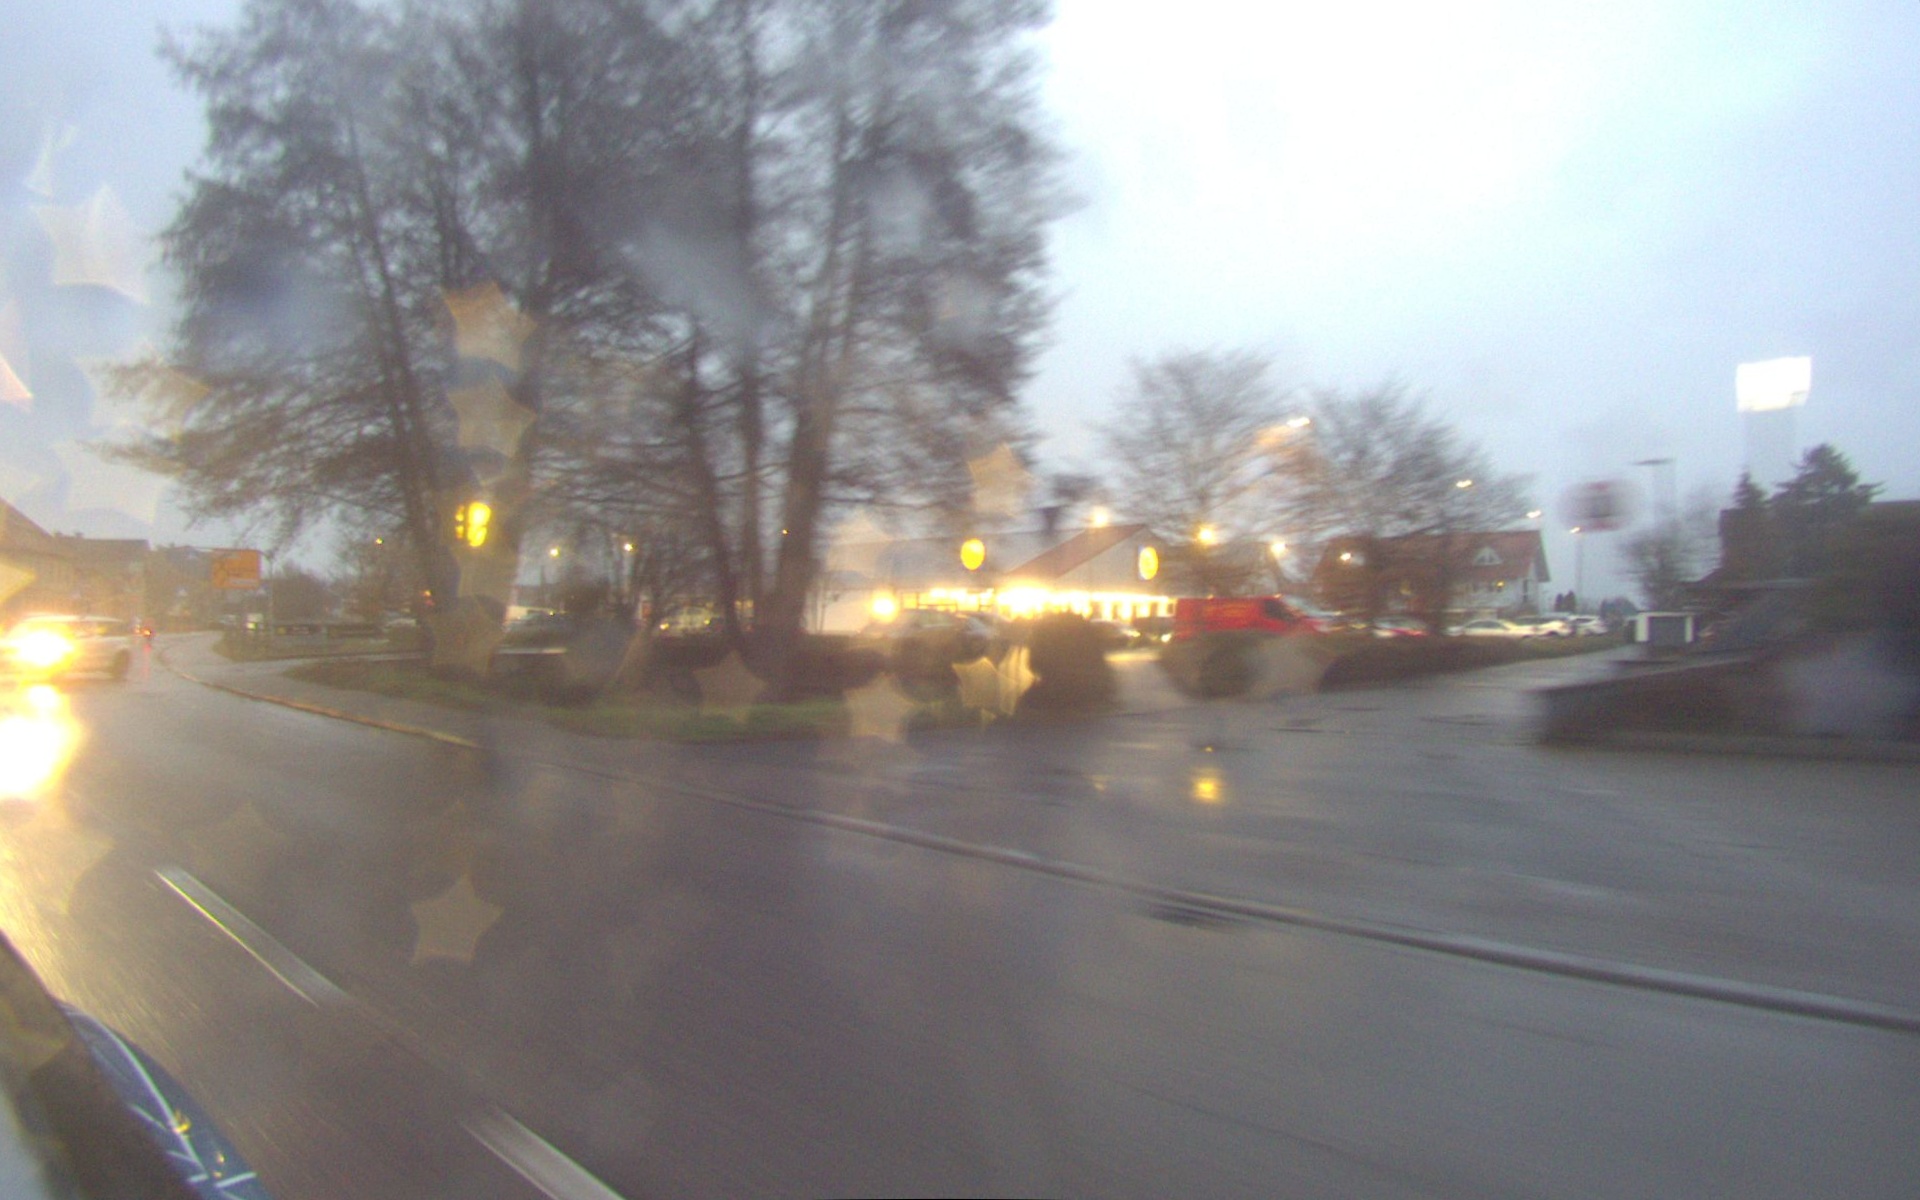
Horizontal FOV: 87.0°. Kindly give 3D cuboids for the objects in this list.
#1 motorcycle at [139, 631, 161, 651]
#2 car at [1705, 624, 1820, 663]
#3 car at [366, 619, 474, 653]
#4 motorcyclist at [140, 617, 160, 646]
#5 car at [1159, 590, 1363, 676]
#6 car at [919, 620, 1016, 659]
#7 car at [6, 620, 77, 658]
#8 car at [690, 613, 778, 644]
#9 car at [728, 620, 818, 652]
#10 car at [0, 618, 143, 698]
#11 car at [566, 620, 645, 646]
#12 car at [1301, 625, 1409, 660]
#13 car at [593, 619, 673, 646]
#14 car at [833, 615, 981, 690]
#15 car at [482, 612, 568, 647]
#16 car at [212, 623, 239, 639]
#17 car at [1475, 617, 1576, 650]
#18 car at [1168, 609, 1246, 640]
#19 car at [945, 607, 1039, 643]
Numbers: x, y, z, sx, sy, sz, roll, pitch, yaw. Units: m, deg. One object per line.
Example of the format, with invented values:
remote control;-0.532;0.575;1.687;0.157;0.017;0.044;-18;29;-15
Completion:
motorcycle;-43.620;2.198;54.494;0.855;1.031;2.113;0;-1;-40
car;30.698;1.642;38.773;3.371;1.342;1.419;-1;1;40
car;-29.018;1.896;54.472;2.030;1.725;4.724;-2;-2;38
motorcyclist;-43.617;1.693;54.486;0.854;1.496;0.910;0;-1;-40
car;8.834;0.993;29.979;5.266;2.296;2.257;-3;-1;41
car;0.309;1.795;45.874;3.992;1.629;1.895;-3;-1;36
car;-44.186;1.830;48.797;1.747;1.736;4.434;0;-2;-32
car;-12.378;1.598;55.624;2.053;1.575;4.387;-3;-4;38
car;-9.771;1.914;53.121;2.053;1.575;4.387;-3;-4;38
car;-22.830;1.393;25.332;1.869;1.712;4.250;-2;1;-11
car;-22.865;2.166;65.333;2.053;1.575;4.387;-3;-4;38
car;14.559;1.568;37.378;3.391;1.139;1.545;-3;0;41
car;-20.520;2.076;63.609;2.053;1.575;4.387;-3;-4;38
car;-1.519;1.537;30.760;2.122;1.992;4.609;-3;-1;33
car;-30.599;2.125;71.310;2.216;2.300;5.135;-3;-4;38
car;-85.520;3.636;117.878;1.915;1.819;4.186;0;-1;-27
car;31.214;1.881;55.962;4.518;1.652;1.911;-3;0;42
car;14.559;1.439;59.725;3.992;1.629;1.895;-3;-1;36
car;1.628;1.254;50.763;4.383;1.684;1.958;-2;-2;17
